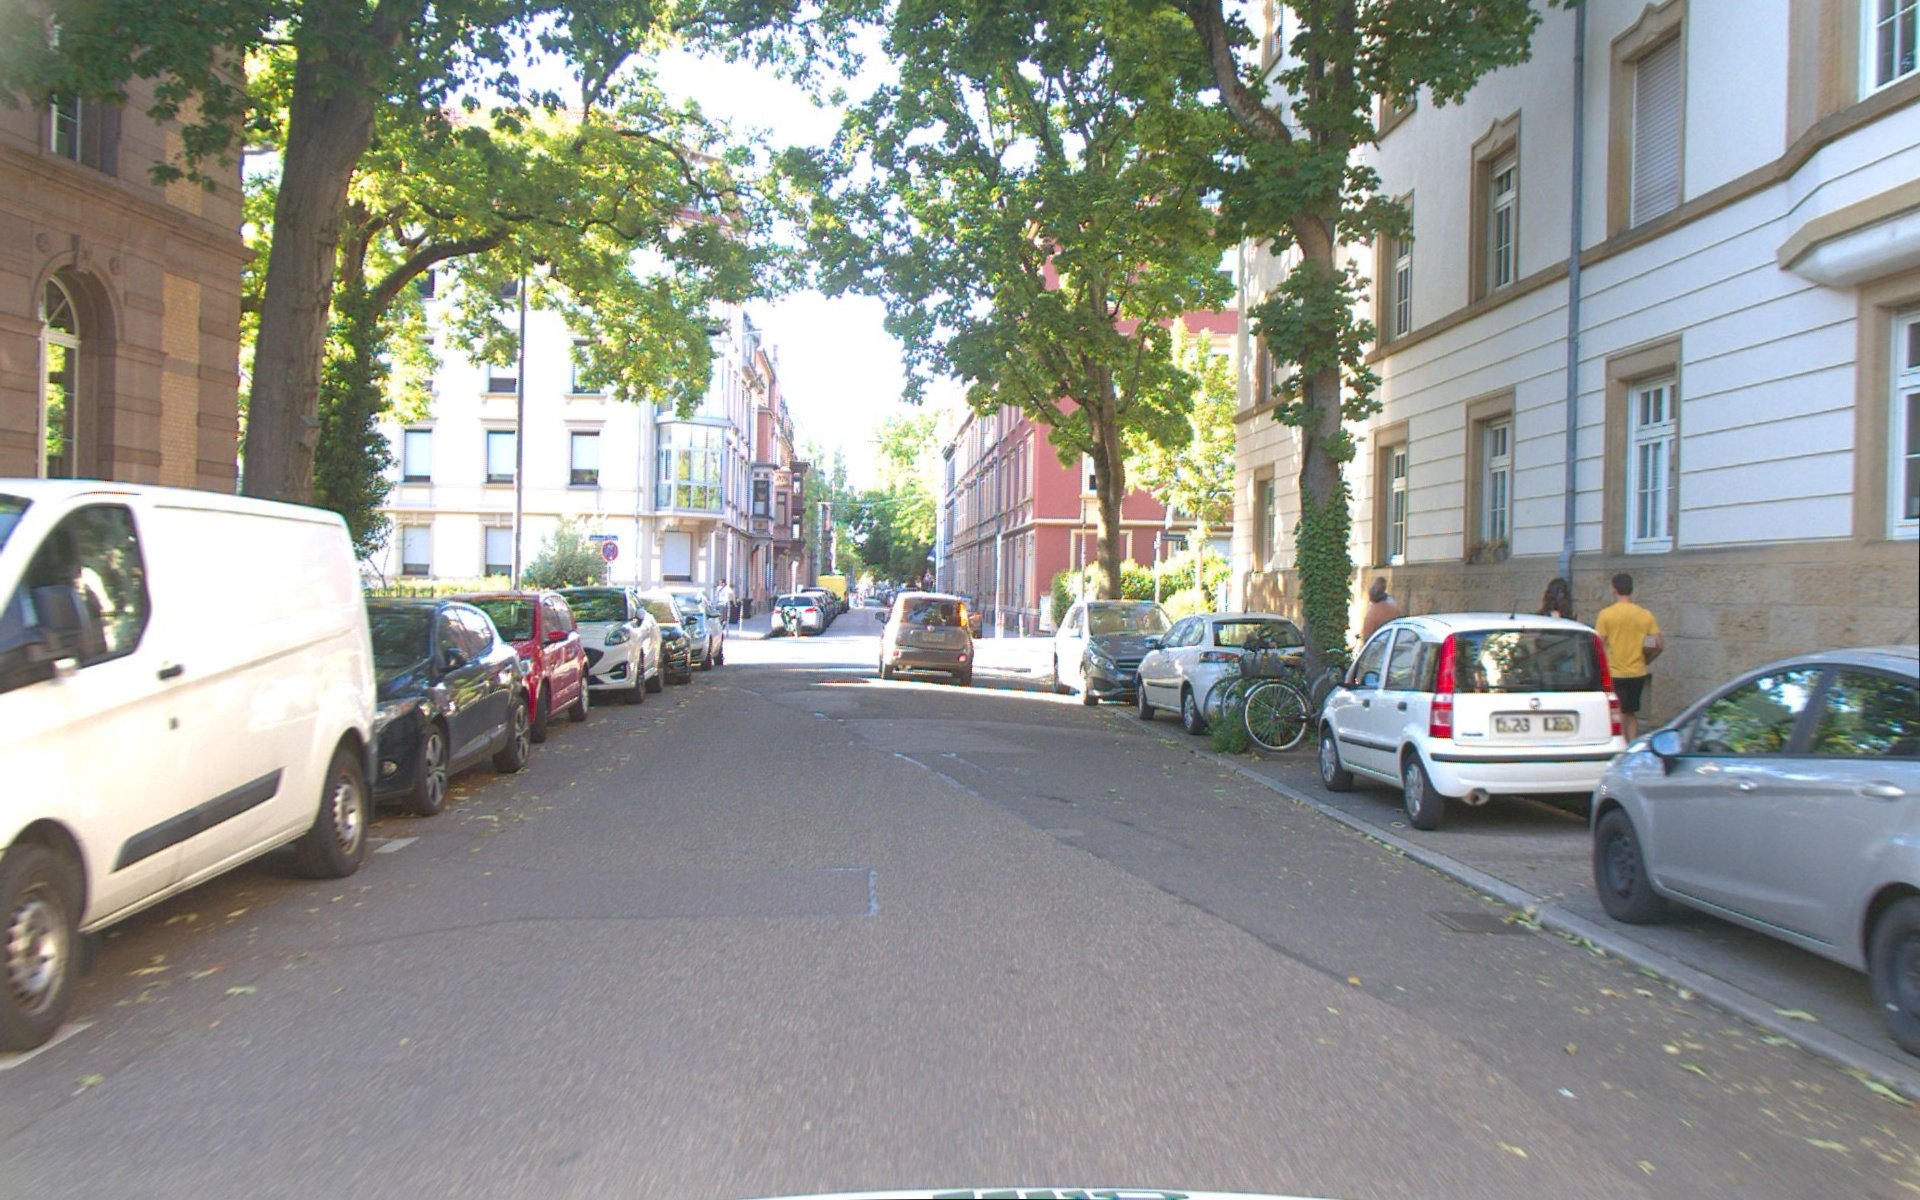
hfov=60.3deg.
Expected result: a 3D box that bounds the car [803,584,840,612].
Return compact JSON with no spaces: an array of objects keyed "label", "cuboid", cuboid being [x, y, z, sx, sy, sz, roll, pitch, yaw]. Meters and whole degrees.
[{"label":"car","cuboid":[-8.165,-0.132,97.954,1.922,1.505,3.923,-2,1,-2]}]

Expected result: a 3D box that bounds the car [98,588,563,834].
[{"label":"car","cuboid":[-4.472,0.670,12.620,1.961,1.483,4.603,-1,1,-3]}]

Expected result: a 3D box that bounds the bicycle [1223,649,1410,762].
[{"label":"bicycle","cuboid":[3.617,1.069,16.849,1.734,1.057,0.605,2,0,-3]}]

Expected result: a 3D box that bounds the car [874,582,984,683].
[{"label":"car","cuboid":[-0.608,0.536,29.746,1.602,1.577,3.260,3,1,-7]}]

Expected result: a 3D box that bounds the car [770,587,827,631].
[{"label":"car","cuboid":[-5.773,0.290,59.546,1.761,1.456,3.923,-2,1,-2]}]

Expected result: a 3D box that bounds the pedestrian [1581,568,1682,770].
[{"label":"pedestrian","cuboid":[5.904,0.591,14.567,0.583,1.731,0.688,1,0,-2]}]

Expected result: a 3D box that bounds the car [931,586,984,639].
[{"label":"car","cuboid":[-0.117,0.404,57.423,1.629,1.698,3.755,2,1,-2]}]

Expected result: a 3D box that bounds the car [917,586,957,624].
[{"label":"car","cuboid":[-1.055,0.203,72.880,1.629,1.531,3.755,2,1,-2]}]

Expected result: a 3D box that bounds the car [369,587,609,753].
[{"label":"car","cuboid":[-4.832,0.638,17.506,1.570,1.485,4.025,-2,1,-4]}]

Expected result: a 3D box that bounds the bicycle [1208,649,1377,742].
[{"label":"bicycle","cuboid":[3.615,1.035,18.073,1.681,0.966,0.733,0,0,-3]}]

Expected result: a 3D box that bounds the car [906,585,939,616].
[{"label":"car","cuboid":[-1.995,0.003,86.517,1.629,1.531,3.755,2,1,-2]}]

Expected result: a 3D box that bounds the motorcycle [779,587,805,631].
[{"label":"motorcycle","cuboid":[-5.731,0.294,56.247,0.684,1.486,1.745,0,0,-12]}]

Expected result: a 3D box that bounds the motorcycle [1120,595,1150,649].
[{"label":"motorcycle","cuboid":[5.124,0.619,48.549,0.809,1.428,2.558,1,2,5]}]

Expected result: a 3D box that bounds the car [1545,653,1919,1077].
[{"label":"car","cuboid":[4.243,1.033,7.418,1.590,1.418,4.155,1,0,-3]}]

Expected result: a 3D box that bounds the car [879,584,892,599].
[{"label":"car","cuboid":[-8.069,-0.910,179.674,1.340,1.646,3.412,1,1,-2]}]

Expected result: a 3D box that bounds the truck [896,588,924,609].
[{"label":"truck","cuboid":[-3.684,-0.119,120.682,1.954,1.482,3.998,1,1,-3]}]

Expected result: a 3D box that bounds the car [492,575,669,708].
[{"label":"car","cuboid":[-5.121,0.504,22.822,1.790,1.581,4.129,-3,1,-6]}]

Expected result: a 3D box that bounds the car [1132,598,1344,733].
[{"label":"car","cuboid":[3.406,0.756,20.961,1.580,1.504,3.864,1,1,-7]}]

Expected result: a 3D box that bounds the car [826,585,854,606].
[{"label":"car","cuboid":[-9.221,-0.375,127.300,1.922,1.505,3.923,-2,1,-2]}]

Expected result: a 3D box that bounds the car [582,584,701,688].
[{"label":"car","cuboid":[-5.254,0.529,27.735,1.714,1.500,4.455,-3,1,-9]}]

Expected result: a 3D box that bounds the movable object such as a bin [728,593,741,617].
[{"label":"movable object such as a bin","cuboid":[-9.166,0.188,67.241,0.502,0.969,0.500,1,0,-6]}]

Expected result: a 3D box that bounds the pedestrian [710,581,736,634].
[{"label":"pedestrian","cuboid":[-8.441,0.264,58.988,0.707,1.871,0.627,2,0,8]}]

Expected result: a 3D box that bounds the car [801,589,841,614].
[{"label":"car","cuboid":[-7.575,0.078,90.328,1.922,1.246,3.923,-2,1,-2]}]

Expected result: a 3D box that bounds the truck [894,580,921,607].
[{"label":"truck","cuboid":[-4.014,-0.497,126.048,1.954,2.026,3.998,1,1,-3]}]

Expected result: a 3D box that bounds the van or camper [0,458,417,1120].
[{"label":"van or camper","cuboid":[-4.033,0.587,7.122,1.884,2.014,5.457,-2,0,-4]}]

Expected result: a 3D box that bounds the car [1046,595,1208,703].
[{"label":"car","cuboid":[2.614,0.729,26.929,1.754,1.578,4.404,1,0,-6]}]

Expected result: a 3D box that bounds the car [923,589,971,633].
[{"label":"car","cuboid":[-0.522,0.375,61.898,1.629,1.531,3.755,2,1,-2]}]

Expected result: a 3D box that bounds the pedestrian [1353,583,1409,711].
[{"label":"pedestrian","cuboid":[5.839,0.639,22.964,0.480,1.735,0.756,-2,0,-4]}]

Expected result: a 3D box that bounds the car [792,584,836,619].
[{"label":"car","cuboid":[-6.679,0.059,75.917,1.792,1.505,3.923,-2,1,-2]}]

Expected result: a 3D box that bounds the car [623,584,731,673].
[{"label":"car","cuboid":[-5.551,0.515,32.825,1.663,1.577,3.916,-2,1,-4]}]

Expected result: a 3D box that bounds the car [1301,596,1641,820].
[{"label":"car","cuboid":[3.945,0.755,13.340,1.490,1.537,3.542,1,0,-3]}]

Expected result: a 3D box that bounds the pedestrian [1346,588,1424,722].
[{"label":"pedestrian","cuboid":[5.658,0.717,22.062,0.762,1.724,0.874,2,0,0]}]

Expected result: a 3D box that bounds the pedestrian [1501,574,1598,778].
[{"label":"pedestrian","cuboid":[5.254,0.656,14.775,0.509,1.765,0.878,1,0,-2]}]

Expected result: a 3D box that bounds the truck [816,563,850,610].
[{"label":"truck","cuboid":[-8.578,-0.919,112.053,2.029,2.977,5.065,-3,1,-2]}]
